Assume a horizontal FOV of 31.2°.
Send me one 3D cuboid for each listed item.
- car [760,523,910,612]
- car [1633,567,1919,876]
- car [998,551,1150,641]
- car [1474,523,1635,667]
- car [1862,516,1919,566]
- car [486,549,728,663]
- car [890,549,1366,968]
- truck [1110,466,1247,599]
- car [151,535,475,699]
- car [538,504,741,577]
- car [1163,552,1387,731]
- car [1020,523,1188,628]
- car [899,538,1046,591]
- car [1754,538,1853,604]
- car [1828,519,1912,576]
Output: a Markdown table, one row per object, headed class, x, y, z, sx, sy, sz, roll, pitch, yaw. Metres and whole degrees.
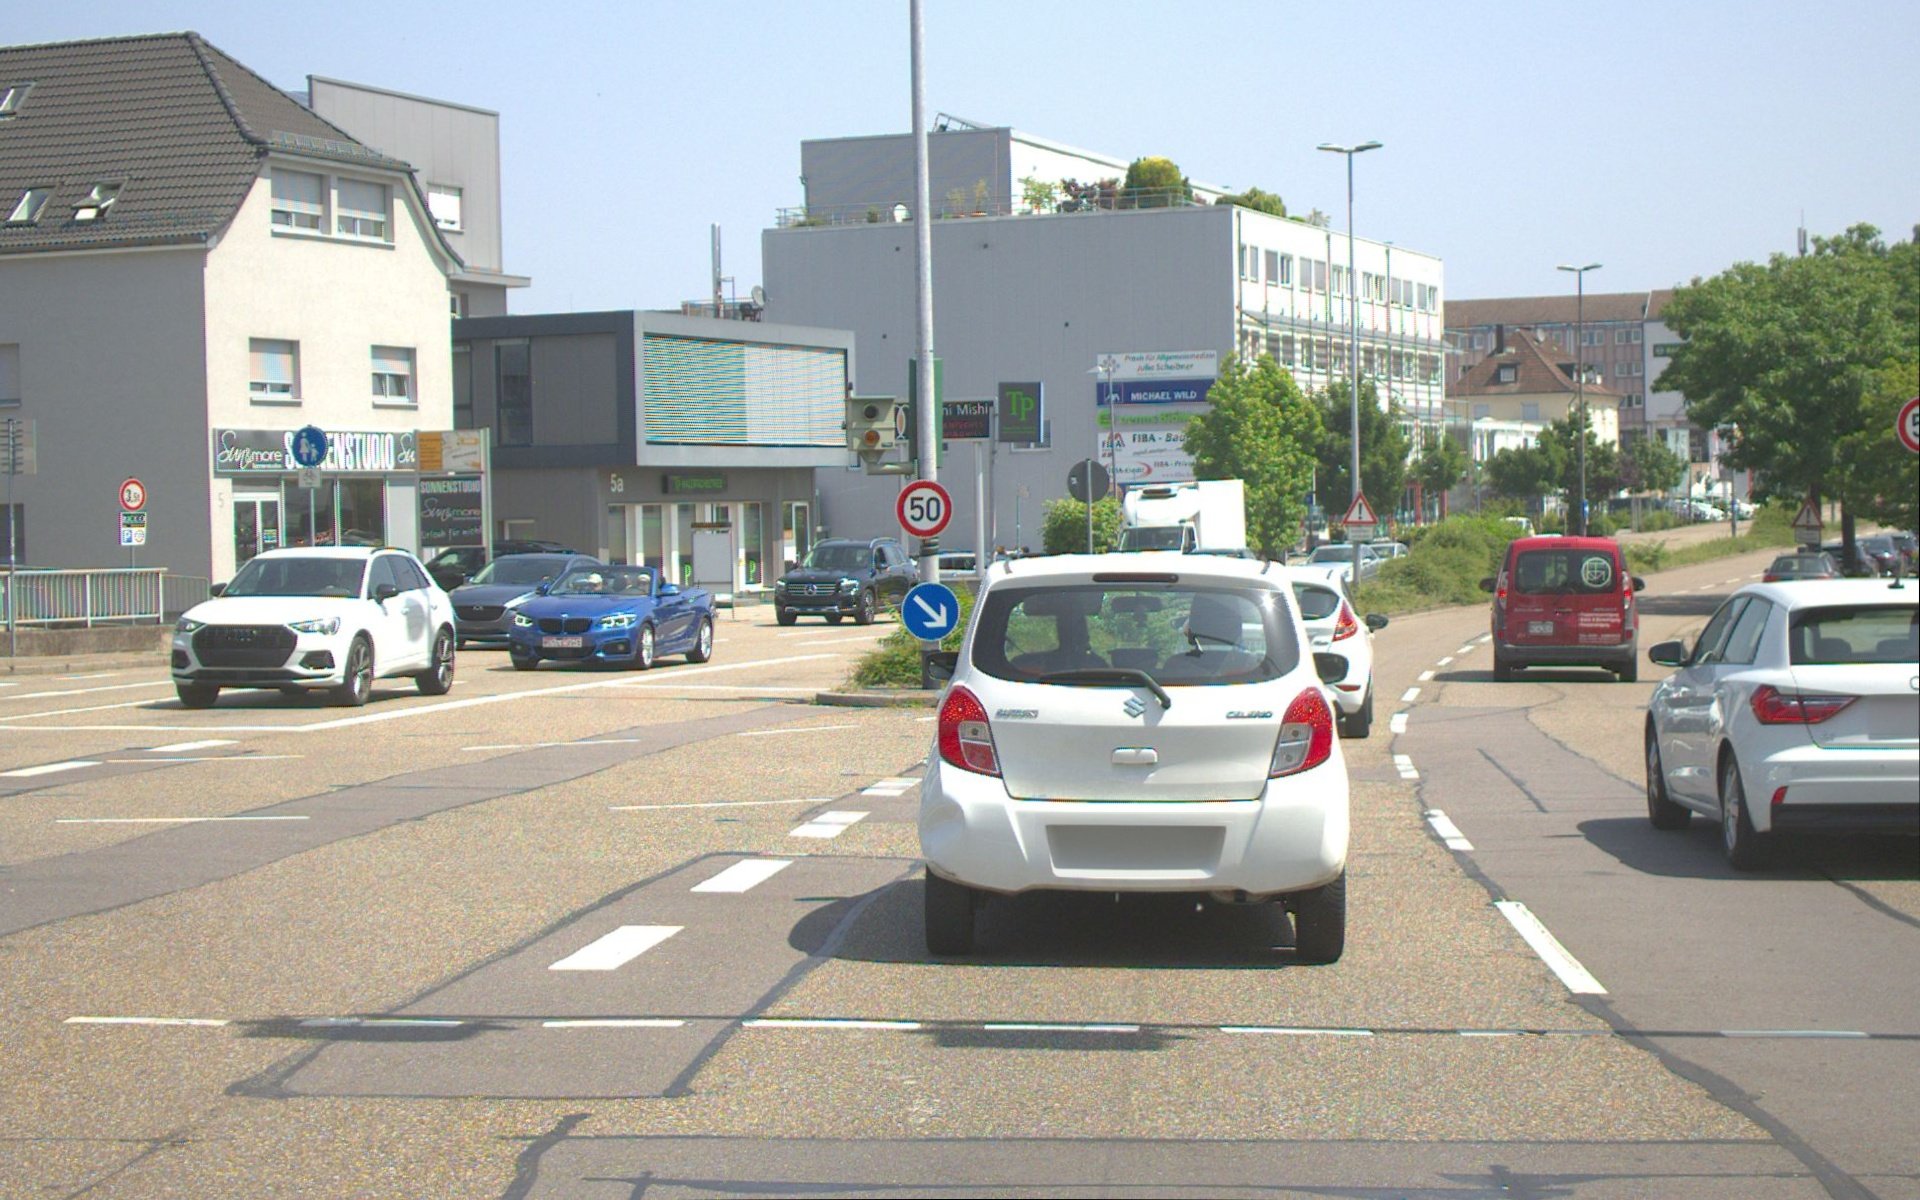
| class | x | y | z | sx | sy | sz | roll | pitch | yaw |
| --- | --- | --- | --- | --- | --- | --- | --- | --- | --- |
| car | -2.416 | -0.668 | 67.696 | 1.994 | 1.650 | 4.592 | -1 | 1 | 10 |
| car | 4.569 | 0.542 | 17.709 | 1.667 | 1.394 | 3.793 | 0 | 1 | 3 |
| car | 1.959 | -0.104 | 57.729 | 1.864 | 1.426 | 4.742 | 0 | 1 | 11 |
| car | 7.456 | -0.100 | 43.398 | 1.795 | 1.723 | 3.972 | 0 | 1 | 7 |
| car | 30.227 | -1.922 | 111.118 | 1.856 | 1.476 | 5.152 | -1 | 2 | 17 |
| car | -4.542 | 0.039 | 44.899 | 1.864 | 1.361 | 4.345 | 1 | 1 | 12 |
| car | 0.694 | 0.560 | 14.099 | 1.712 | 1.505 | 3.247 | 0 | 0 | 3 |
| truck | 5.904 | -1.758 | 92.020 | 2.266 | 3.406 | 7.034 | 1 | 0 | 15 |
| car | -6.590 | 0.122 | 35.557 | 1.817 | 1.565 | 4.554 | 1 | 1 | 10 |
| car | -7.177 | -1.338 | 77.078 | 4.060 | 1.516 | 1.998 | -1 | 1 | 17 |
| car | 2.778 | 0.311 | 30.382 | 1.830 | 1.445 | 3.999 | 0 | 1 | 5 |
| car | 2.541 | -0.425 | 59.466 | 1.910 | 1.745 | 4.756 | 1 | 0 | 15 |
| car | 0.373 | -1.029 | 100.349 | 3.990 | 1.454 | 1.574 | -1 | 0 | 16 |
| car | 19.012 | -0.666 | 77.377 | 1.799 | 1.401 | 4.316 | 1 | 2 | 18 |
| car | 27.972 | -1.635 | 105.565 | 1.963 | 1.525 | 5.156 | -3 | 1 | 20 |
